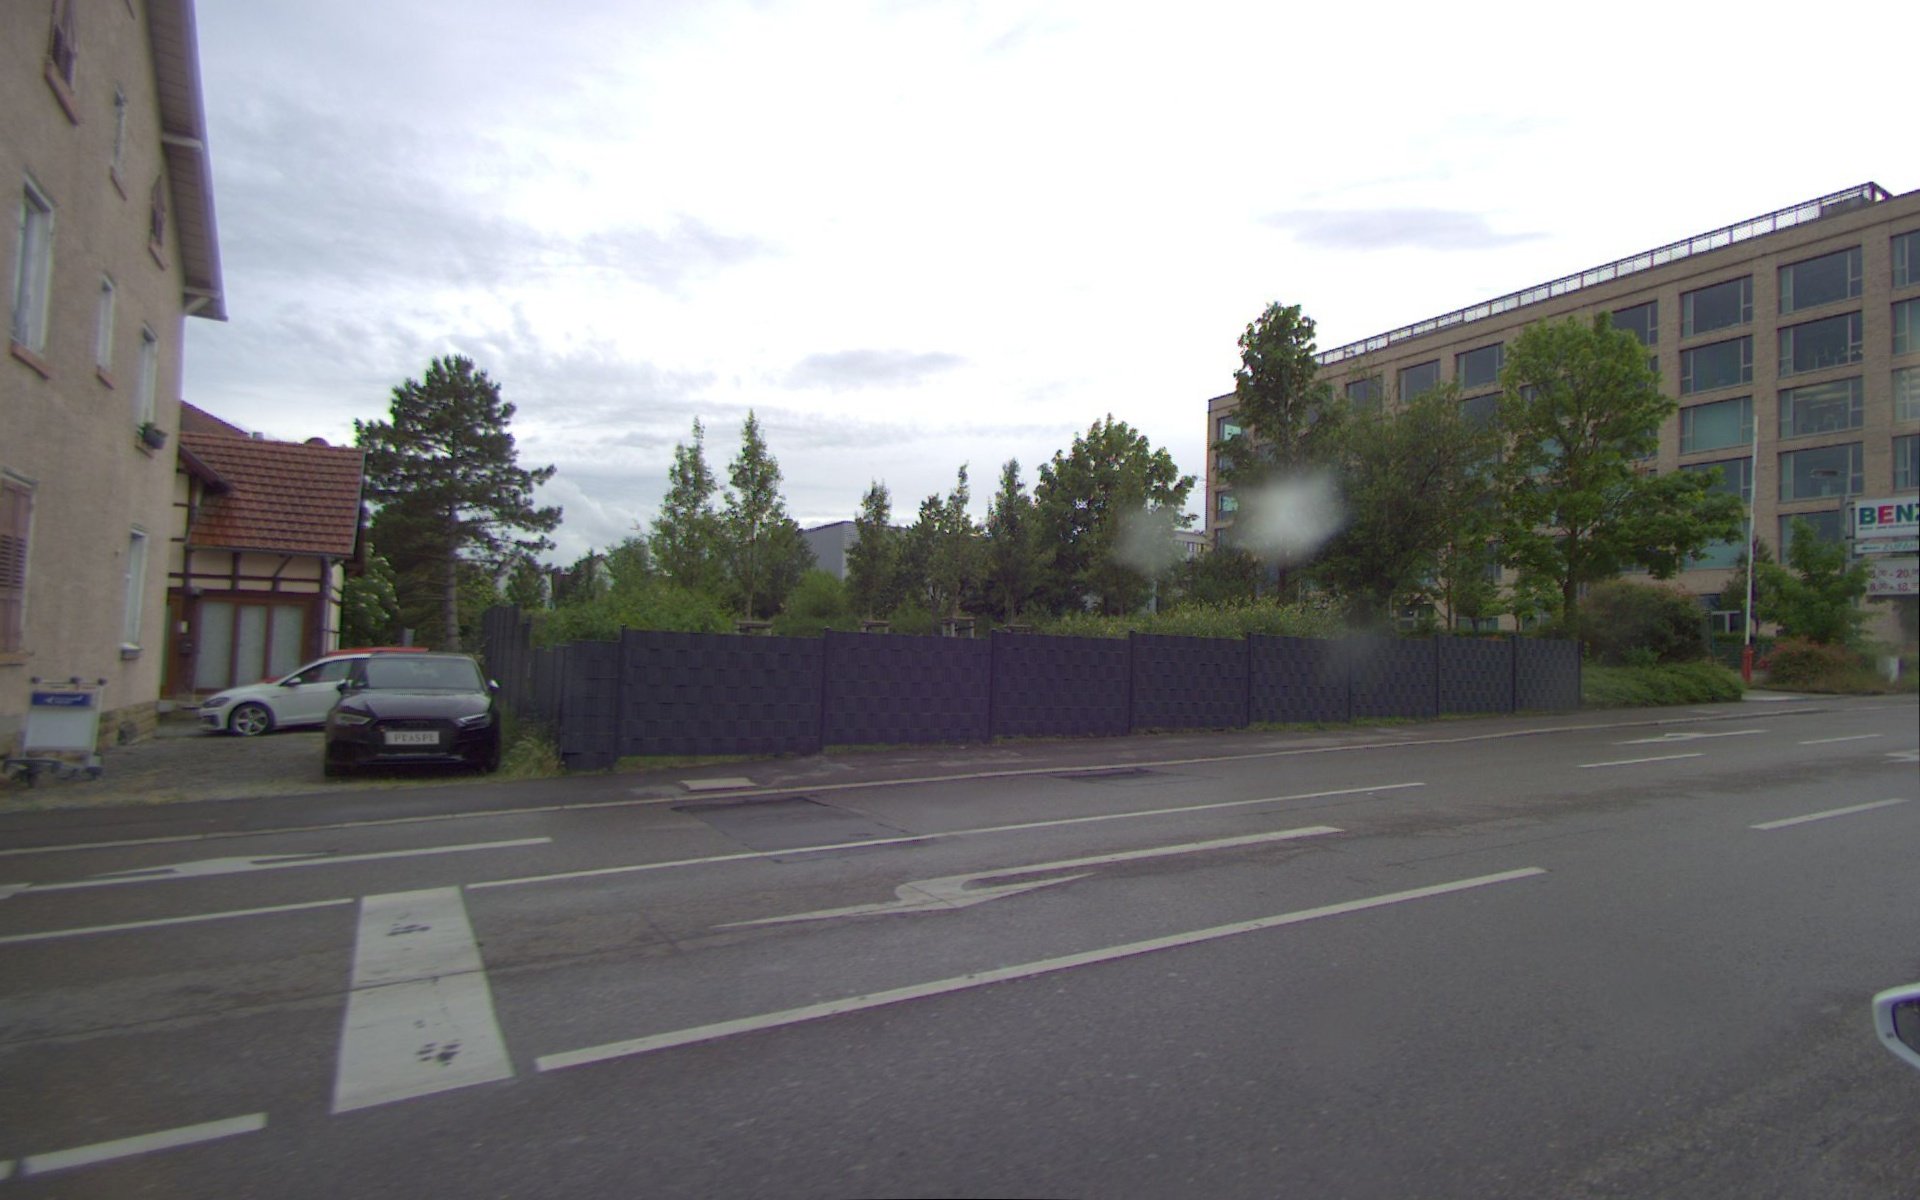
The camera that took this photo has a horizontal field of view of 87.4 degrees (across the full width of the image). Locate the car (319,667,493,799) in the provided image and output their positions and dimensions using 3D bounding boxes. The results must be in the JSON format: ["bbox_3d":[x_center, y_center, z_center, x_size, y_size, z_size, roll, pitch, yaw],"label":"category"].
[{"bbox_3d":[-6.988,1.515,12.479,1.590,1.178,3.963,2,-2,-33],"label":"car"}]

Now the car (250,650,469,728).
[{"bbox_3d":[-13.061,1.898,22.080,3.953,1.536,1.634,2,-2,-30],"label":"car"}]

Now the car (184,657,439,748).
[{"bbox_3d":[-12.339,1.914,19.404,3.953,1.536,1.689,2,-2,-30],"label":"car"}]
